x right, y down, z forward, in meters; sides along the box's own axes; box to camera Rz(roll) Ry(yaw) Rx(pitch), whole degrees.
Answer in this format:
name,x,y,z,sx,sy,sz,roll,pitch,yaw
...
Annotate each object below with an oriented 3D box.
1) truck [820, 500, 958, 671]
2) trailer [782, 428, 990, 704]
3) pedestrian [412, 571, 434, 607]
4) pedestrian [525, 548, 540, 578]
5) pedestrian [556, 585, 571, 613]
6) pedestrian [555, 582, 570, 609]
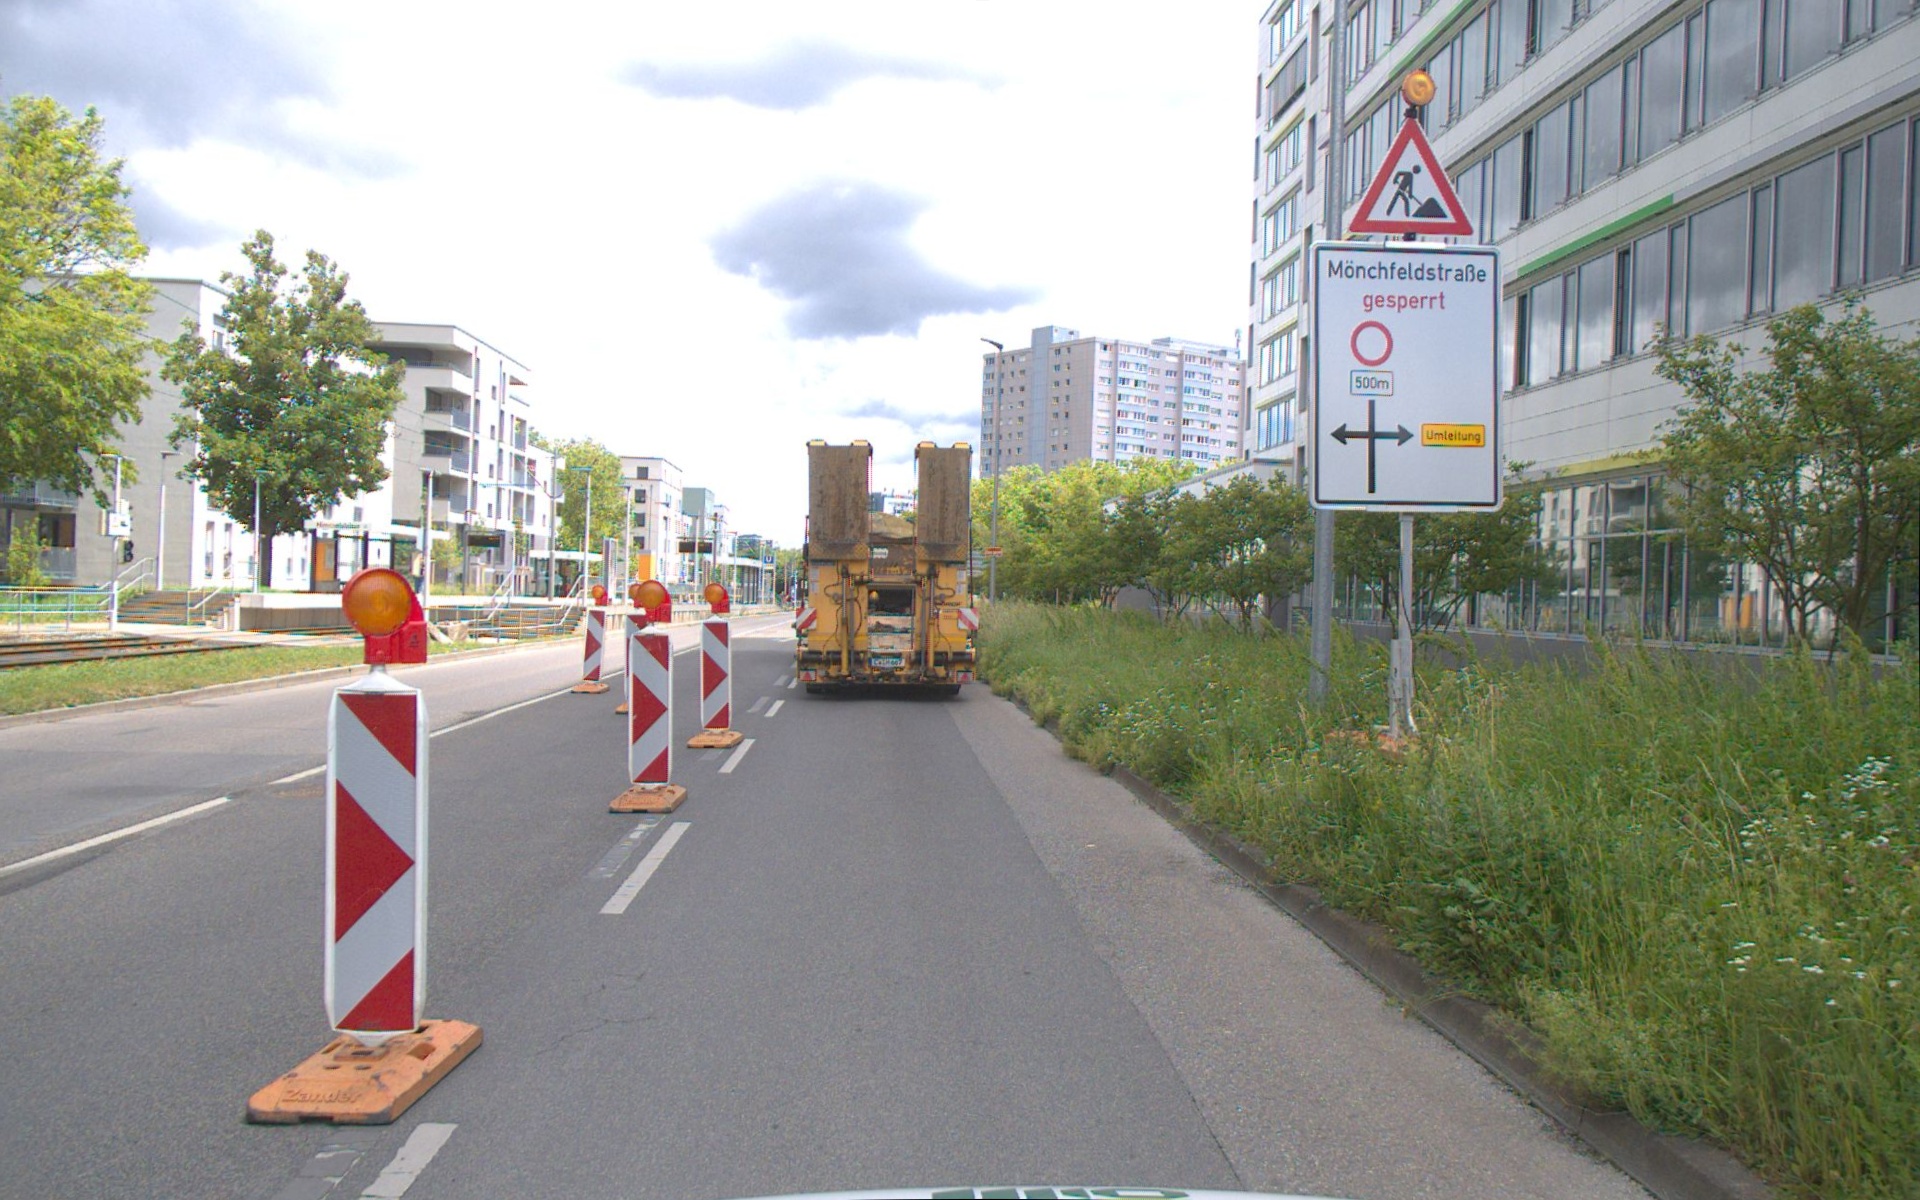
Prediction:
name,x,y,z,sx,sy,sz,roll,pitch,yaw
truck,-1.604,-0.272,37.634,2.698,3.371,8.347,2,0,-2
trailer,-1.199,-0.431,27.845,2.674,3.621,11.248,2,0,-2
pedestrian,-23.406,-0.480,72.050,0.726,1.558,0.547,2,-1,1
pedestrian,-25.131,-2.162,97.243,0.485,1.755,0.667,4,-2,-42
pedestrian,-23.745,-0.042,99.090,0.478,1.624,0.676,1,-1,32
pedestrian,-23.634,-0.270,98.266,0.480,1.624,0.674,1,-1,40
